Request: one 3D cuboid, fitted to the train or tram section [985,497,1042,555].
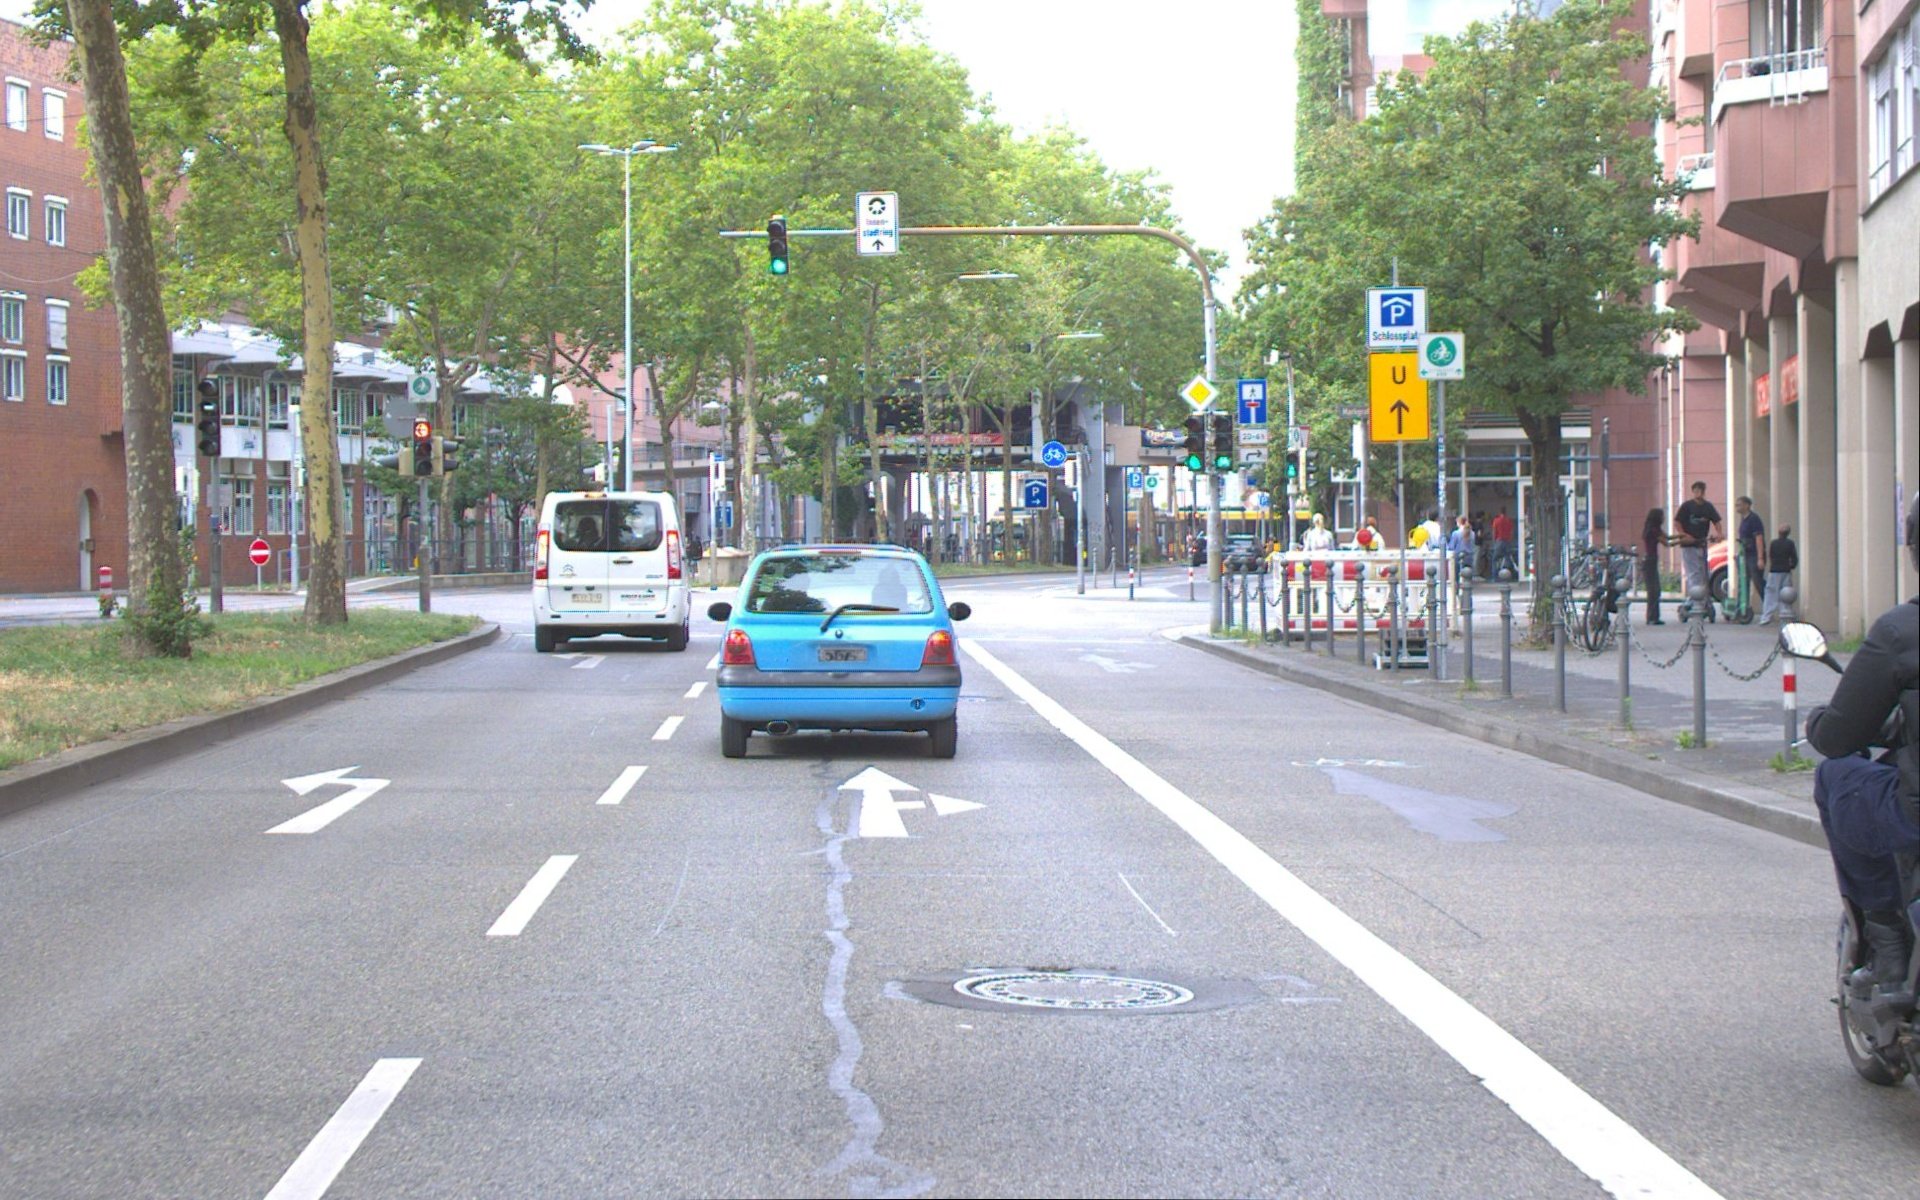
[{"bbox_3d":[3.059,-4.196,195.752,2.389,3.242,8.816,-1,1,6],"label":"train or tram section"}]

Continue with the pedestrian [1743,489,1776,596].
[{"bbox_3d":[11.313,-0.818,48.660,0.407,1.508,0.485,0,1,7],"label":"pedestrian"}]

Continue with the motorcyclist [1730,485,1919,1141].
[{"bbox_3d":[2.416,0.478,8.461,0.759,1.514,1.018,-1,1,-2],"label":"motorcyclist"}]

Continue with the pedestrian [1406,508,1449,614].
[{"bbox_3d":[8.150,-0.682,59.950,0.676,1.822,0.851,0,1,5],"label":"pedestrian"}]

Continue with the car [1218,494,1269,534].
[{"bbox_3d":[11.539,-3.491,139.710,1.699,1.596,3.999,0,2,10],"label":"car"}]

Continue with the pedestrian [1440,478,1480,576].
[{"bbox_3d":[8.721,-1.276,59.991,0.652,1.695,1.022,0,1,6],"label":"pedestrian"}]

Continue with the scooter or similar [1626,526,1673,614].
[{"bbox_3d":[9.565,-0.418,47.733,0.474,1.202,1.330,0,1,4],"label":"scooter or similar"}]

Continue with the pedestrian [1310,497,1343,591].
[{"bbox_3d":[6.334,-0.967,59.407,0.517,1.610,0.851,0,1,3],"label":"pedestrian"}]

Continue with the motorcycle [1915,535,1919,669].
[{"bbox_3d":[8.418,0.042,28.718,0.617,1.152,1.903,-2,2,9],"label":"motorcycle"}]

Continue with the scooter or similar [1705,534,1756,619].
[{"bbox_3d":[10.751,-0.337,48.015,0.554,1.166,1.406,0,1,7],"label":"scooter or similar"}]

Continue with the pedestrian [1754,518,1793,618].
[{"bbox_3d":[10.743,-0.426,45.403,0.487,1.319,0.485,0,1,12],"label":"pedestrian"}]

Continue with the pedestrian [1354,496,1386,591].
[{"bbox_3d":[7.059,-0.975,59.239,0.517,1.610,0.851,0,1,5],"label":"pedestrian"}]

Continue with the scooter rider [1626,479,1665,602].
[{"bbox_3d":[9.577,-0.830,48.031,0.463,1.714,0.553,0,1,4],"label":"scooter rider"}]

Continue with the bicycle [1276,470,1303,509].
[{"bbox_3d":[8.489,-2.844,88.636,0.617,1.005,1.735,0,1,4],"label":"bicycle"}]

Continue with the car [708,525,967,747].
[{"bbox_3d":[-0.833,0.188,23.735,1.640,1.381,3.843,0,2,-2],"label":"car"}]

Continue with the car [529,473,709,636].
[{"bbox_3d":[-4.221,-0.615,43.262,1.931,1.919,4.956,-1,2,-2],"label":"car"}]

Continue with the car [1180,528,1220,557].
[{"bbox_3d":[13.671,-3.300,195.918,1.887,1.618,3.999,0,1,10],"label":"car"}]

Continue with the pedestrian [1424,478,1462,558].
[{"bbox_3d":[9.347,-1.592,66.535,0.676,1.533,0.947,0,1,6],"label":"pedestrian"}]

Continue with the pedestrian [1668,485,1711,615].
[{"bbox_3d":[10.188,-0.701,48.002,0.551,1.793,0.657,0,1,9],"label":"pedestrian"}]

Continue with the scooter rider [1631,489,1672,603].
[{"bbox_3d":[9.540,-0.747,47.429,0.460,1.552,0.565,0,1,2],"label":"scooter rider"}]

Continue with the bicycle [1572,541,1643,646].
[{"bbox_3d":[7.175,-0.085,38.143,0.612,1.114,1.804,0,1,5],"label":"bicycle"}]

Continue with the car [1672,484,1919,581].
[{"bbox_3d":[16.422,-1.299,67.307,4.829,1.819,1.999,0,-1,11],"label":"car"}]

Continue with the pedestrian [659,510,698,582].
[{"bbox_3d":[-6.723,-1.292,82.056,0.553,1.712,0.889,0,1,25],"label":"pedestrian"}]

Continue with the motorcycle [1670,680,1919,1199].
[{"bbox_3d":[2.423,0.799,8.499,0.767,1.103,2.208,-1,1,-3],"label":"motorcycle"}]
